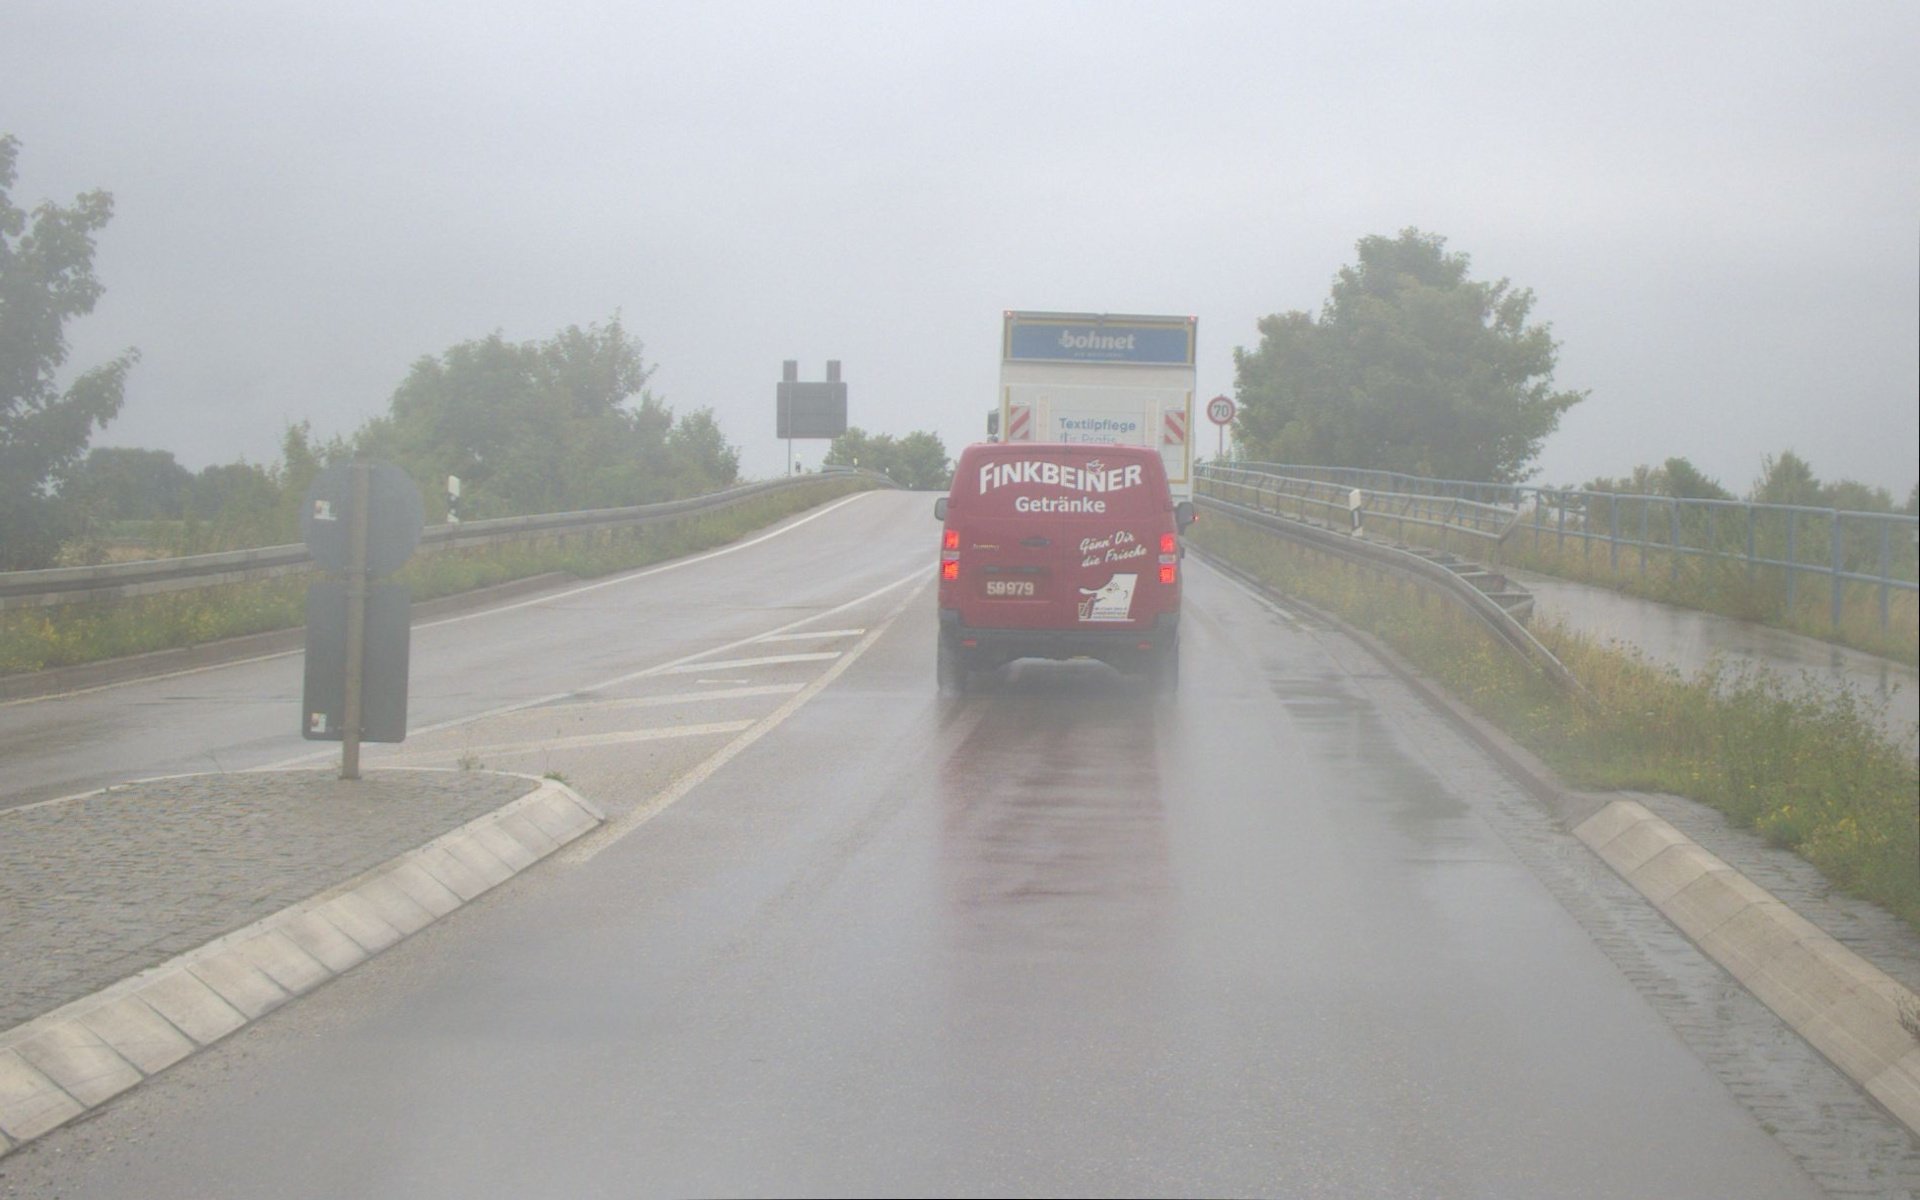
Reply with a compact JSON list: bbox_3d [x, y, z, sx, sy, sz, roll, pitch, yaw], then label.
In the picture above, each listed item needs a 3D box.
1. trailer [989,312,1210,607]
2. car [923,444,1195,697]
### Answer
[{"bbox_3d":[1.982,-1.985,49.432,2.832,3.805,9.715,0,2,2],"label":"trailer"},{"bbox_3d":[0.895,-0.320,27.842,1.994,1.864,4.978,0,2,4],"label":"car"}]
